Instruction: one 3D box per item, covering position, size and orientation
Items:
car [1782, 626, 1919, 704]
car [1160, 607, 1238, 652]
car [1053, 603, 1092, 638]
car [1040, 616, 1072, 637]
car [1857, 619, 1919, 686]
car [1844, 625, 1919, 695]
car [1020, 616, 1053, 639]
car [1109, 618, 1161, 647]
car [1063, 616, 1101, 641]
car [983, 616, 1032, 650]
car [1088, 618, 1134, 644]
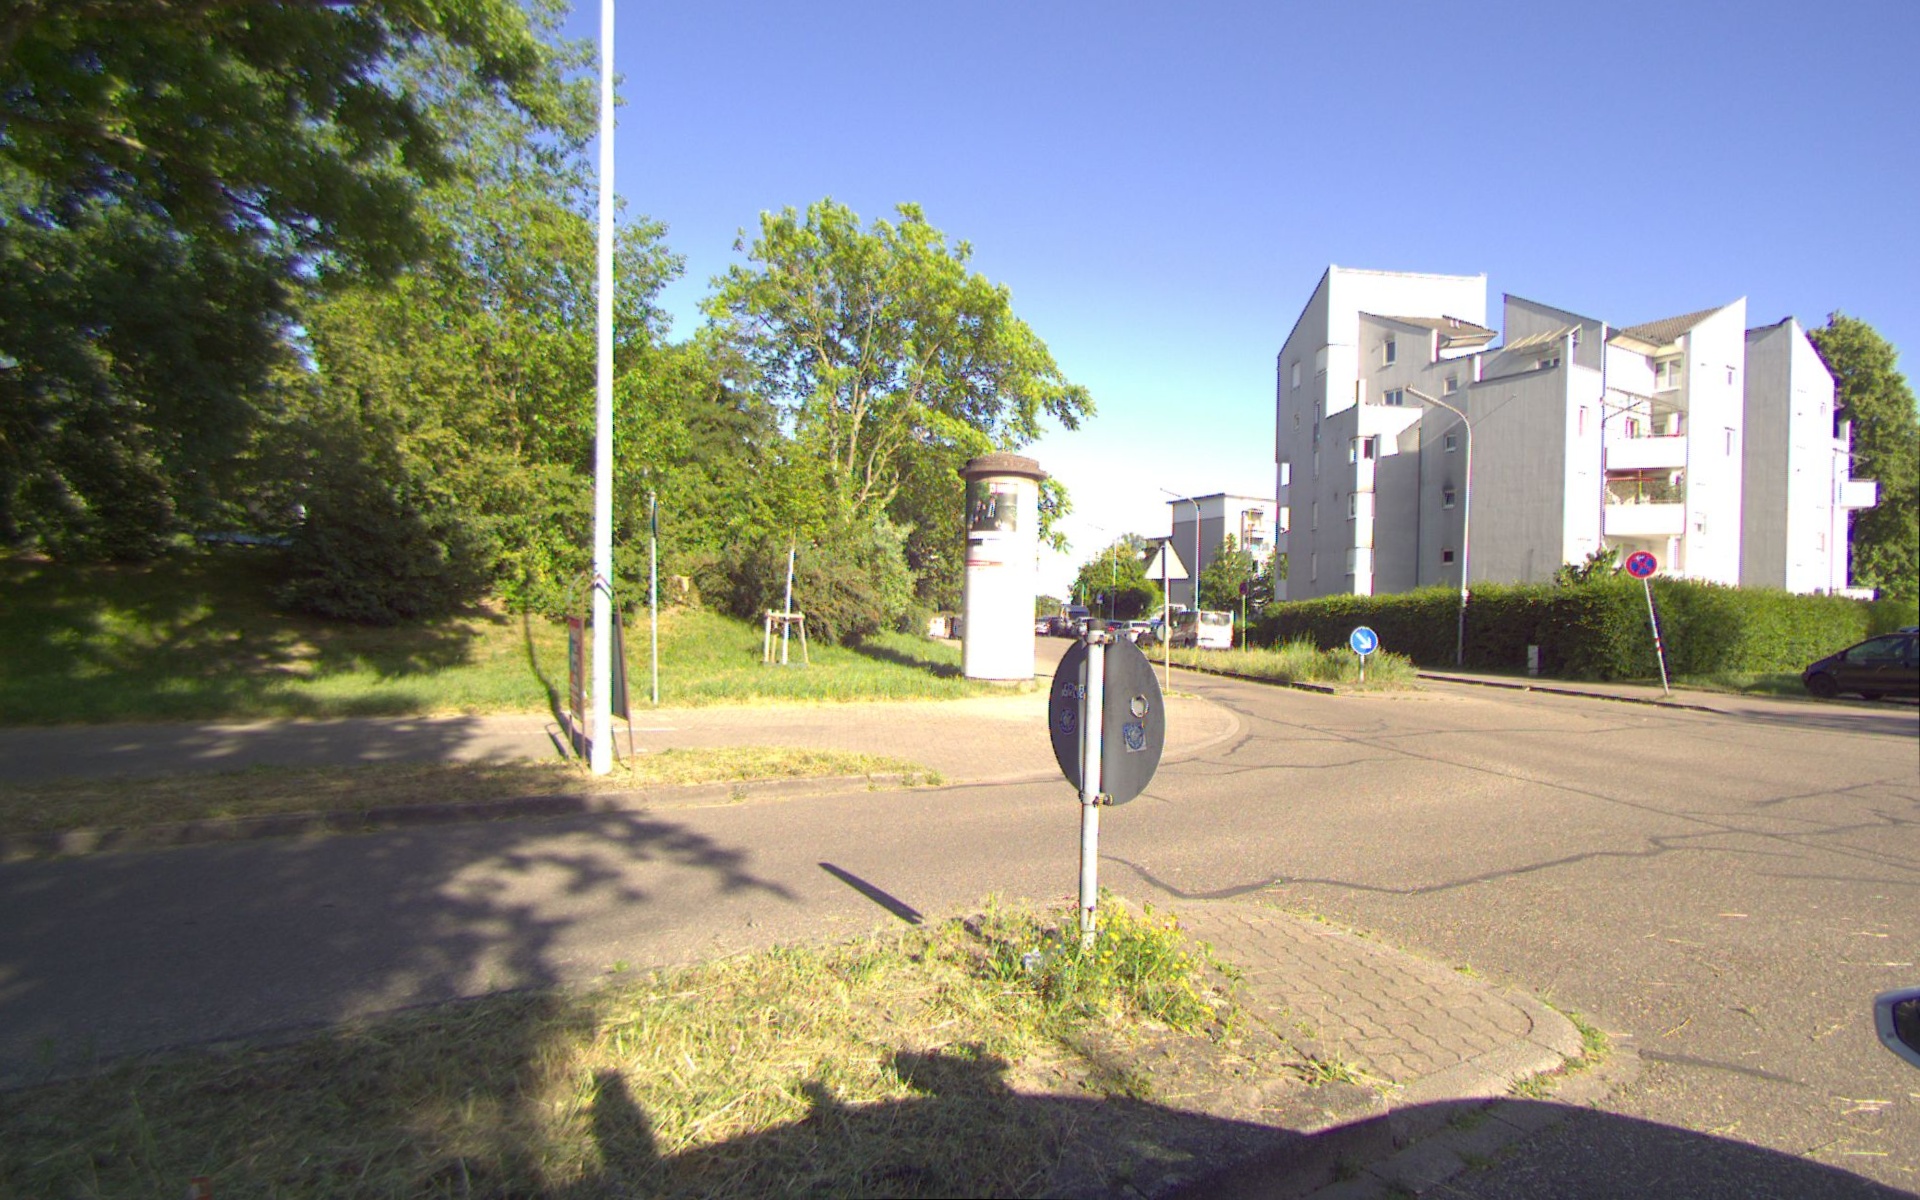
[{"bbox_3d":[19.572,1.327,20.909,1.674,1.486,3.525,1,0,-13],"label":"car"},{"bbox_3d":[11.043,1.338,46.852,1.963,1.937,4.949,1,-1,-6],"label":"car"},{"bbox_3d":[8.658,1.576,77.596,2.070,2.519,5.855,3,-1,-2],"label":"car"},{"bbox_3d":[8.067,2.203,84.635,1.879,1.688,4.372,1,-1,-5],"label":"car"},{"bbox_3d":[25.103,1.298,24.177,1.759,1.676,4.979,1,-1,-24],"label":"car"},{"bbox_3d":[21.874,1.320,21.860,1.624,1.516,3.679,1,-1,-17],"label":"car"},{"bbox_3d":[5.760,2.049,75.789,1.847,1.665,4.073,1,-1,-4],"label":"car"},{"bbox_3d":[9.917,1.817,57.238,1.879,1.508,4.372,1,-1,-5],"label":"car"},{"bbox_3d":[8.714,2.054,72.147,1.879,1.688,4.372,1,-1,-5],"label":"car"},{"bbox_3d":[2.232,1.547,48.105,1.602,1.548,3.413,1,-1,-11],"label":"car"},{"bbox_3d":[9.436,1.924,62.949,1.879,1.508,4.372,1,-1,-5],"label":"car"}]
